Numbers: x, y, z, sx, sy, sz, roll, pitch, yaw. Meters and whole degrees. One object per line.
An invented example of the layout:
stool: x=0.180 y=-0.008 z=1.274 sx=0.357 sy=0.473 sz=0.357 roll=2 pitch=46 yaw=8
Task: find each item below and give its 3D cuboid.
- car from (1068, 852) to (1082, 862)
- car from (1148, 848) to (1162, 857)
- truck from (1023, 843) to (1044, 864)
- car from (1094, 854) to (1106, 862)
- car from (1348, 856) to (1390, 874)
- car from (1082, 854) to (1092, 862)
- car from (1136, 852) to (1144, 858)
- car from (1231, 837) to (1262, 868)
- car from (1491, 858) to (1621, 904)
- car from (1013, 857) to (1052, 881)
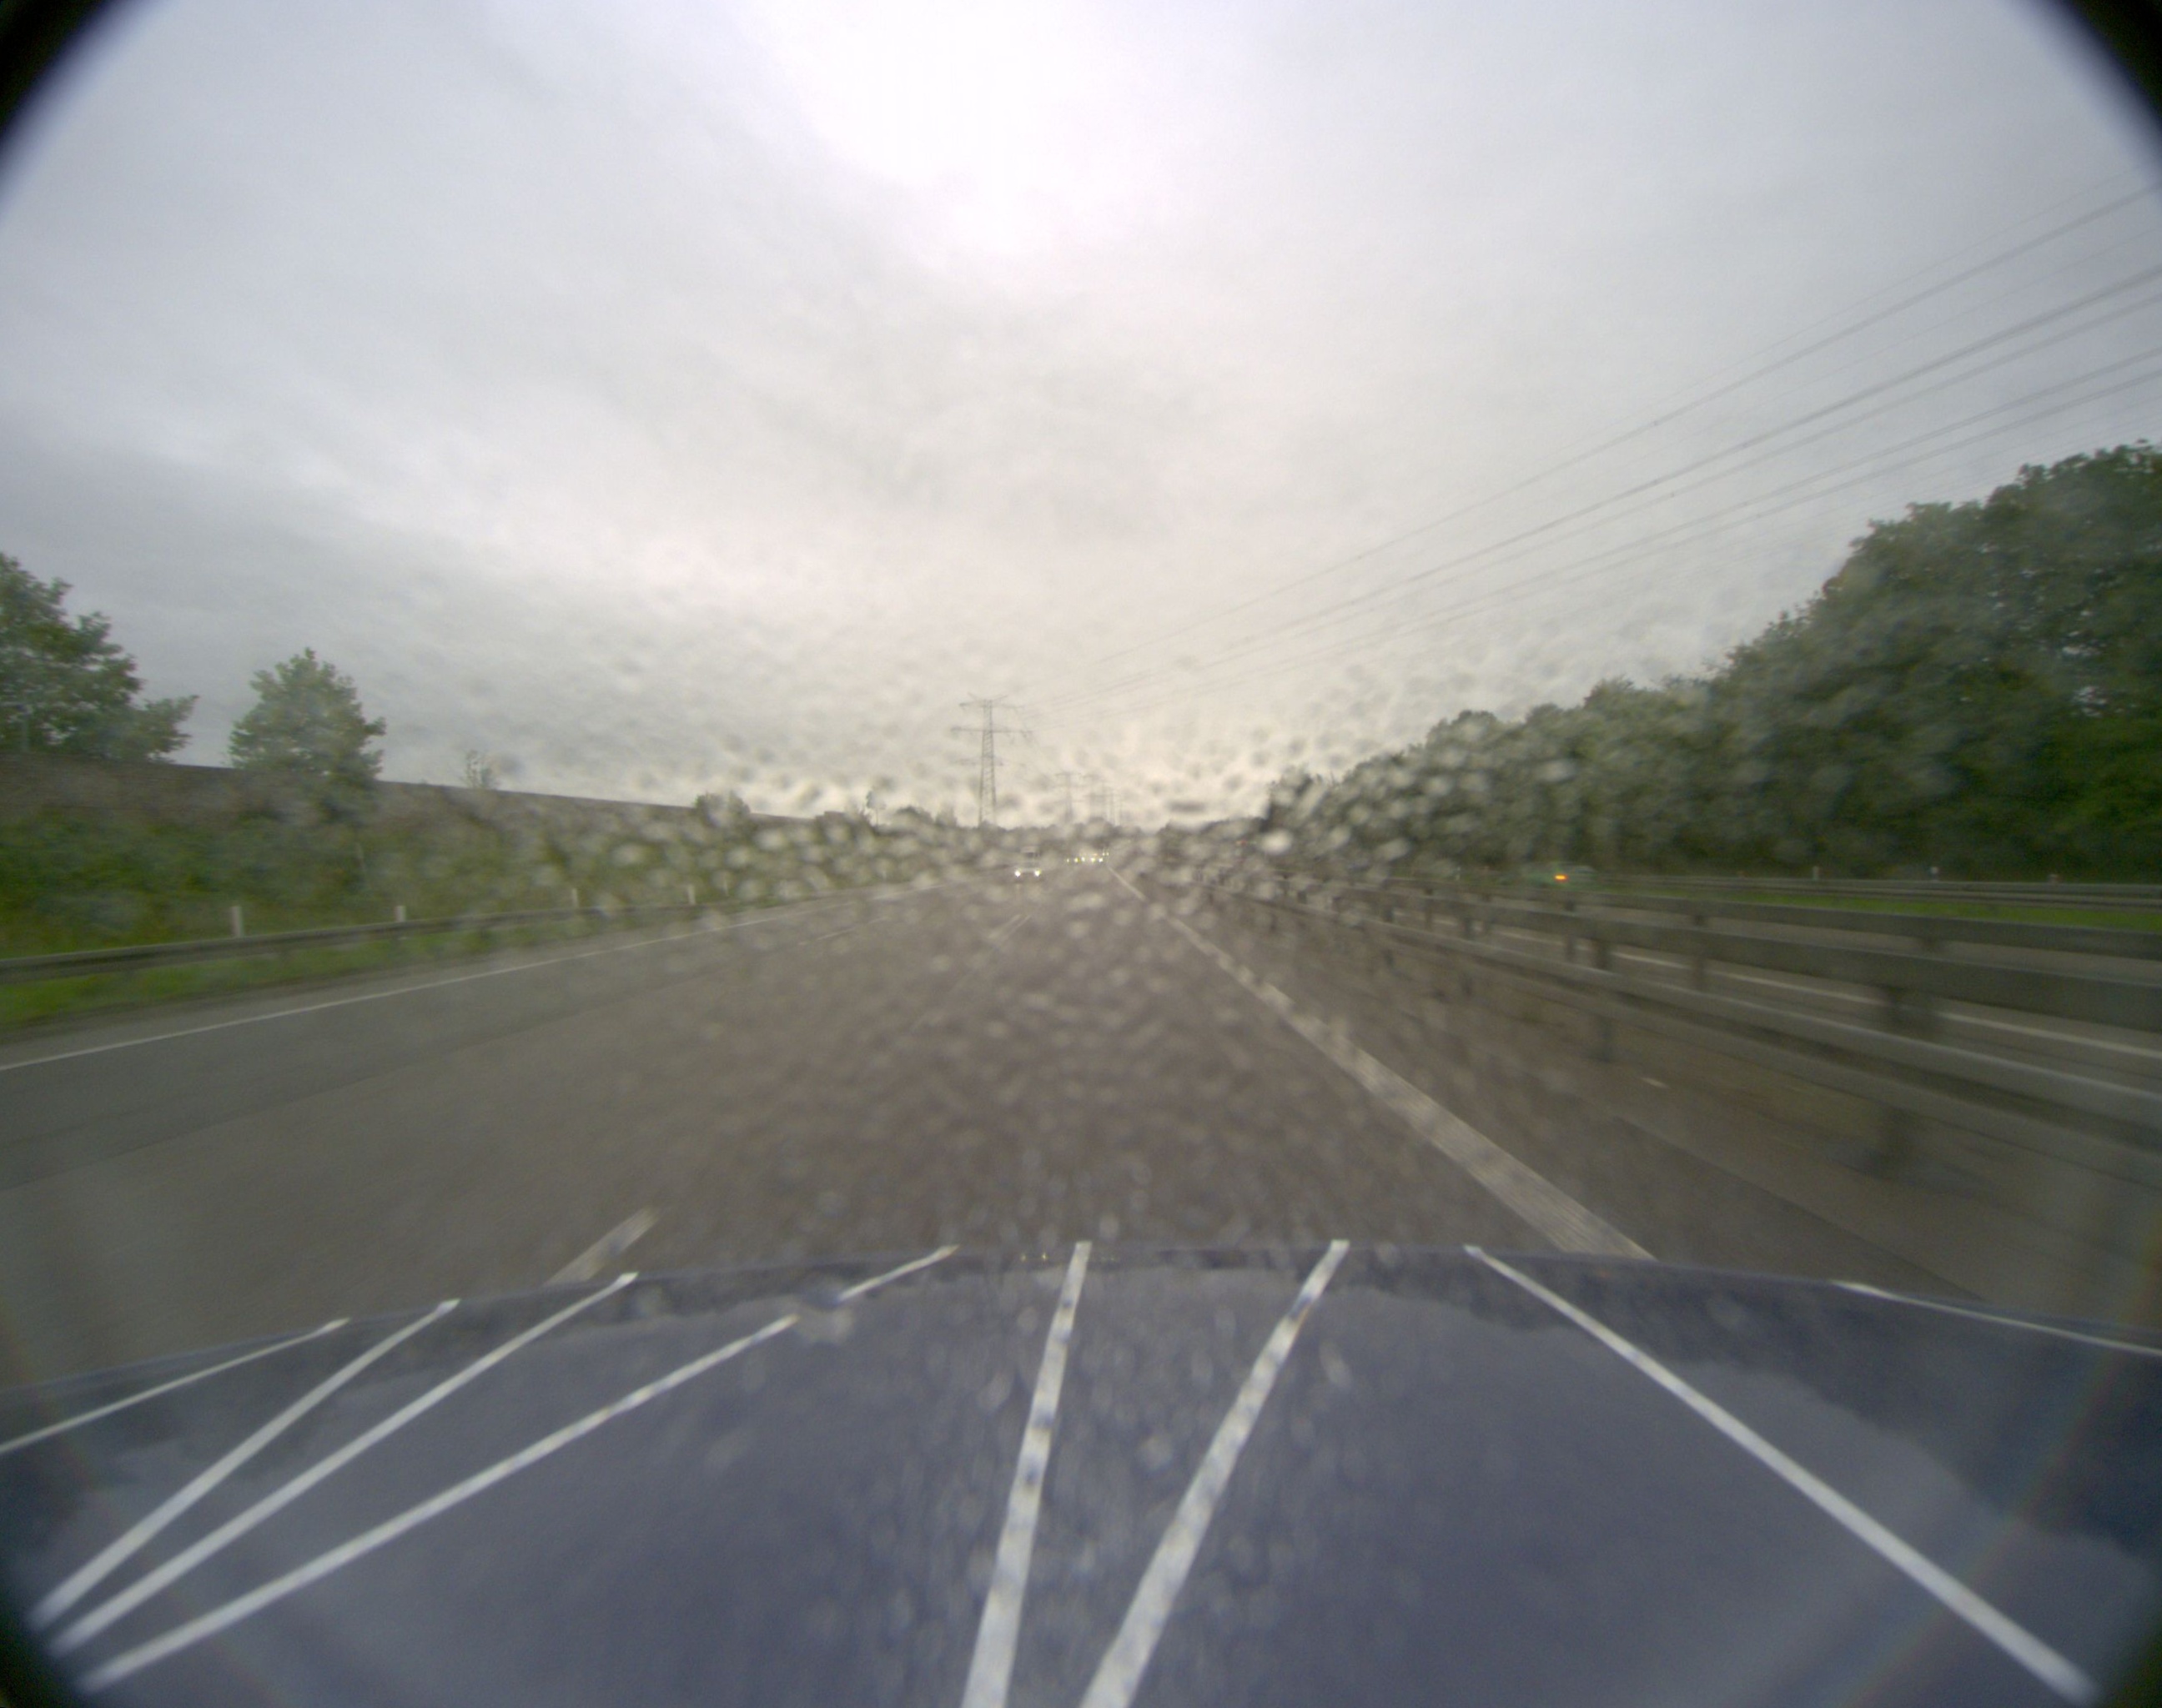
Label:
car: x=-0.923 y=0.531 z=121.865 sx=1.998 sy=1.418 sz=4.000 roll=-2 pitch=1 yaw=4
car: x=12.989 y=-0.289 z=133.595 sx=1.928 sy=1.646 sz=4.790 roll=0 pitch=0 yaw=1
truck: x=-7.971 y=-0.053 z=128.349 sx=2.648 sy=3.325 sz=6.931 roll=-2 pitch=1 yaw=4
car: x=3.548 y=0.721 z=137.934 sx=1.998 sy=1.418 sz=4.000 roll=-2 pitch=1 yaw=4
car: x=25.654 y=0.938 z=67.824 sx=1.974 sy=1.534 sz=3.998 roll=-1 pitch=0 yaw=-6
car: x=1.231 y=0.826 z=163.613 sx=1.856 sy=1.418 sz=4.000 roll=-2 pitch=1 yaw=4
car: x=15.281 y=0.190 z=196.182 sx=1.826 sy=1.503 sz=4.790 roll=0 pitch=0 yaw=1
car: x=18.692 y=-0.190 z=86.213 sx=2.259 sy=3.308 sz=6.175 roll=0 pitch=0 yaw=1
car: x=16.925 y=0.900 z=27.392 sx=1.879 sy=1.484 sz=4.514 roll=0 pitch=0 yaw=1
car: x=-3.158 y=0.967 z=50.169 sx=1.998 sy=1.418 sz=4.000 roll=-2 pitch=1 yaw=4
